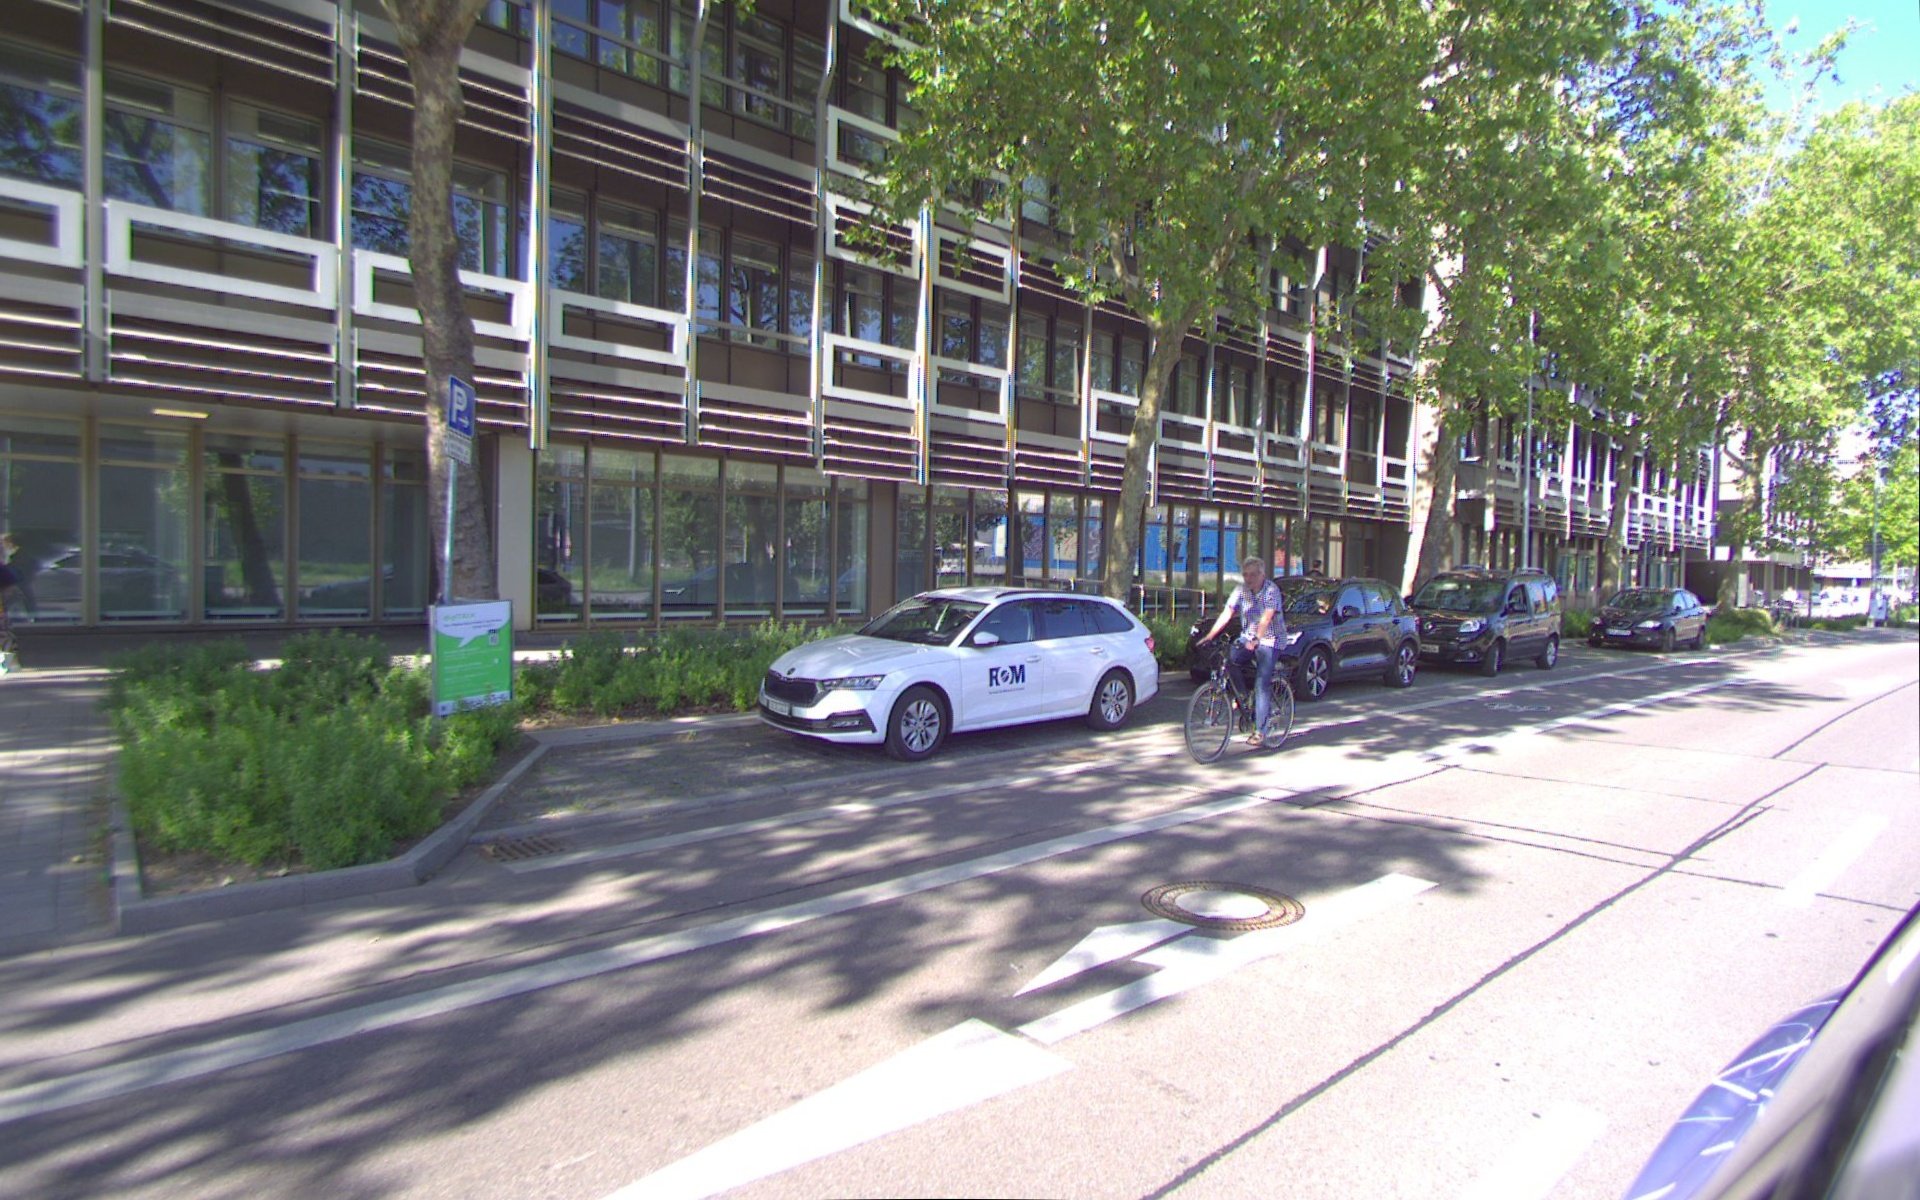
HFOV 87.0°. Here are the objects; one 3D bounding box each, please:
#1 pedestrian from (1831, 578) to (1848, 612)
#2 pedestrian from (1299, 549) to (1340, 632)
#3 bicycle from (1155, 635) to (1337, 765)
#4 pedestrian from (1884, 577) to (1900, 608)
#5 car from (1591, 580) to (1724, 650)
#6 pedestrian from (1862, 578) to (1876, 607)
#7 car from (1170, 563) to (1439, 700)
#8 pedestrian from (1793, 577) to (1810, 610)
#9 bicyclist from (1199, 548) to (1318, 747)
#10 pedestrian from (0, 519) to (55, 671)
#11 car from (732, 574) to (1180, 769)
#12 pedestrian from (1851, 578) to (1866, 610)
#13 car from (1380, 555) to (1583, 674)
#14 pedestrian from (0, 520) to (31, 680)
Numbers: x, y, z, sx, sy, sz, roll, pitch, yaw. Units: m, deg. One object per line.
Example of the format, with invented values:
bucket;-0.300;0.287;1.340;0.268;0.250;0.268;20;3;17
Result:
pedestrian;49.206;-0.278;56.630;0.684;1.863;0.591;0;1;-42
pedestrian;9.030;-0.241;25.410;0.615;2.039;0.741;0;1;-41
bicycle;2.624;0.848;9.177;1.891;1.006;0.710;1;-1;-43
pedestrian;55.570;-0.451;60.334;0.559;1.863;0.591;0;1;-41
car;17.773;0.326;25.714;4.262;1.573;1.751;0;3;-42
pedestrian;58.720;-0.514;65.345;0.559;1.863;0.591;0;1;-41
car;5.069;0.364;14.606;4.262;1.653;1.751;0;3;-42
pedestrian;46.974;-0.363;56.481;0.685;1.863;0.591;0;1;-42
bicyclist;2.731;0.409;9.268;0.838;1.709;0.710;0;-1;-42
pedestrian;-10.573;-0.067;11.054;0.991;1.620;0.668;0;4;-41
car;0.134;0.552;10.274;4.481;1.508;1.751;0;3;-42
pedestrian;53.235;-0.379;59.959;0.559;1.863;0.591;0;1;-41
car;9.452;0.199;18.199;4.262;1.843;1.751;0;3;-42
pedestrian;-10.147;-0.015;10.498;0.715;1.620;0.668;0;4;-40
